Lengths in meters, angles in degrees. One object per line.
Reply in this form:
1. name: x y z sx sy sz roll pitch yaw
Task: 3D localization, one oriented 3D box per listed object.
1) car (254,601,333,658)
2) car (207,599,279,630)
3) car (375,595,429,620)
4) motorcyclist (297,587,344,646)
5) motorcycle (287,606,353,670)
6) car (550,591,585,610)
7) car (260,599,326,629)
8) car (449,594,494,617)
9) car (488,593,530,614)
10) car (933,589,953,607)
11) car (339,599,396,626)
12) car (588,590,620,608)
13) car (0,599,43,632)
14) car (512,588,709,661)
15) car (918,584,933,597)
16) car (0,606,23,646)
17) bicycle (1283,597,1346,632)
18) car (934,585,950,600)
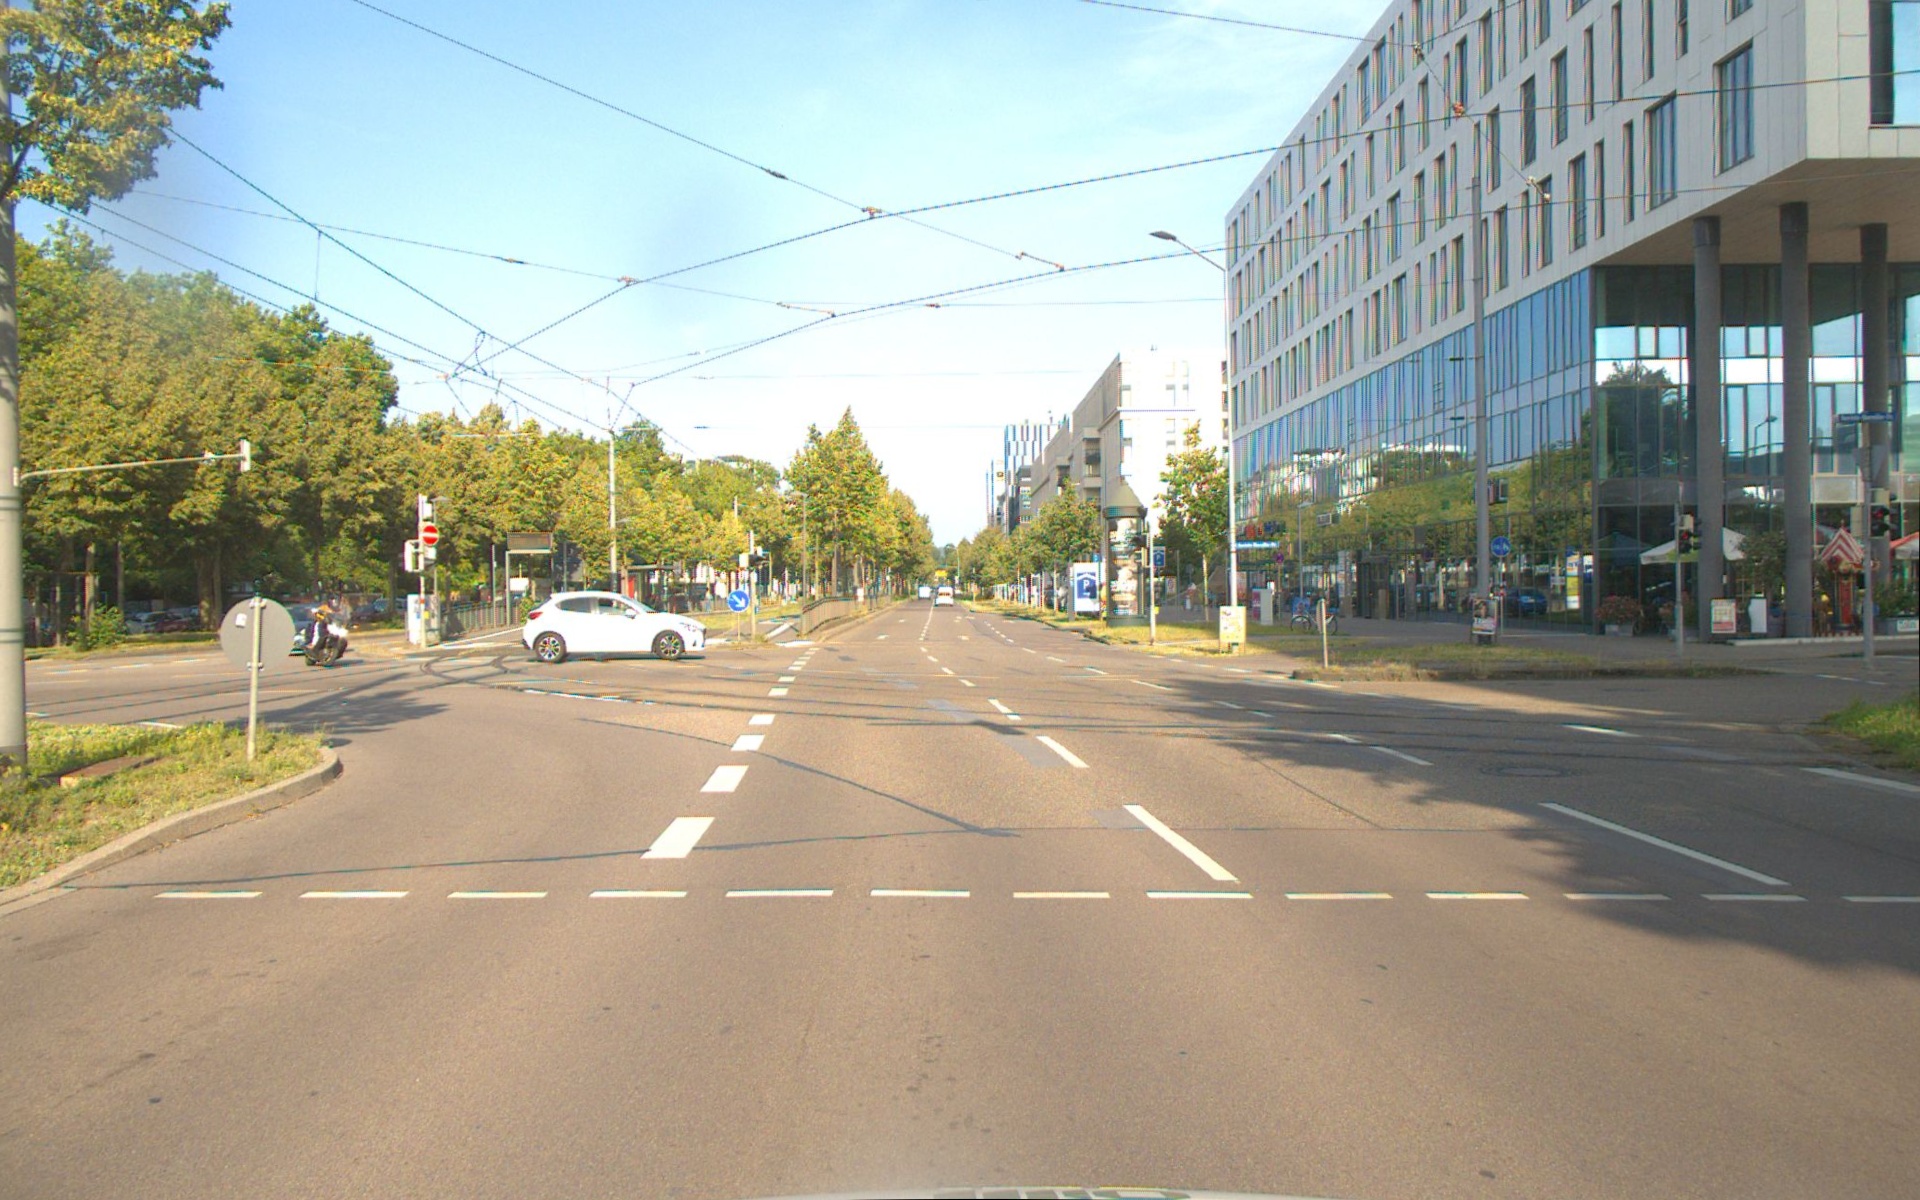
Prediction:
1. car: -18.838 0.807 46.920 1.702 1.487 4.551 -1 0 -18
2. car: -38.126 0.760 88.006 1.841 1.586 4.002 -1 0 4
3. car: -36.451 0.462 108.137 1.841 1.586 4.002 -1 0 4
4. motorcyclist: -13.805 0.350 35.700 0.775 1.224 0.837 1 1 -35
5. motorcycle: -13.827 0.798 35.698 0.811 1.285 2.519 0 1 -33
6. car: -34.320 0.065 144.749 1.841 1.586 4.002 -1 0 4
7. car: -37.708 0.775 93.584 1.841 1.586 4.002 -1 0 4
8. car: -35.621 0.392 120.630 1.841 1.586 4.002 -1 0 4
9. car: -35.038 0.288 128.561 1.841 1.586 4.002 -1 0 4
10. car: -1.639 -0.217 158.966 1.826 1.713 4.000 1 1 0
11. car: -36.881 0.786 103.050 1.841 1.586 4.002 -1 0 4
12. car: -33.414 -0.088 155.433 1.841 1.586 4.002 -1 0 4
13. car: -46.659 0.758 80.227 1.841 1.586 4.002 -1 0 4
14. car: -7.665 0.529 36.619 3.999 1.530 1.998 1 0 -4
15. car: -4.831 -1.384 232.933 1.973 1.713 4.000 1 1 0
16. car: -39.330 1.053 65.595 1.841 1.586 4.002 -1 0 4
17. bicycle: 11.387 0.463 53.175 0.768 1.050 1.848 -1 3 -44
18. car: -2.051 -0.855 191.682 1.826 1.713 4.000 1 1 0
